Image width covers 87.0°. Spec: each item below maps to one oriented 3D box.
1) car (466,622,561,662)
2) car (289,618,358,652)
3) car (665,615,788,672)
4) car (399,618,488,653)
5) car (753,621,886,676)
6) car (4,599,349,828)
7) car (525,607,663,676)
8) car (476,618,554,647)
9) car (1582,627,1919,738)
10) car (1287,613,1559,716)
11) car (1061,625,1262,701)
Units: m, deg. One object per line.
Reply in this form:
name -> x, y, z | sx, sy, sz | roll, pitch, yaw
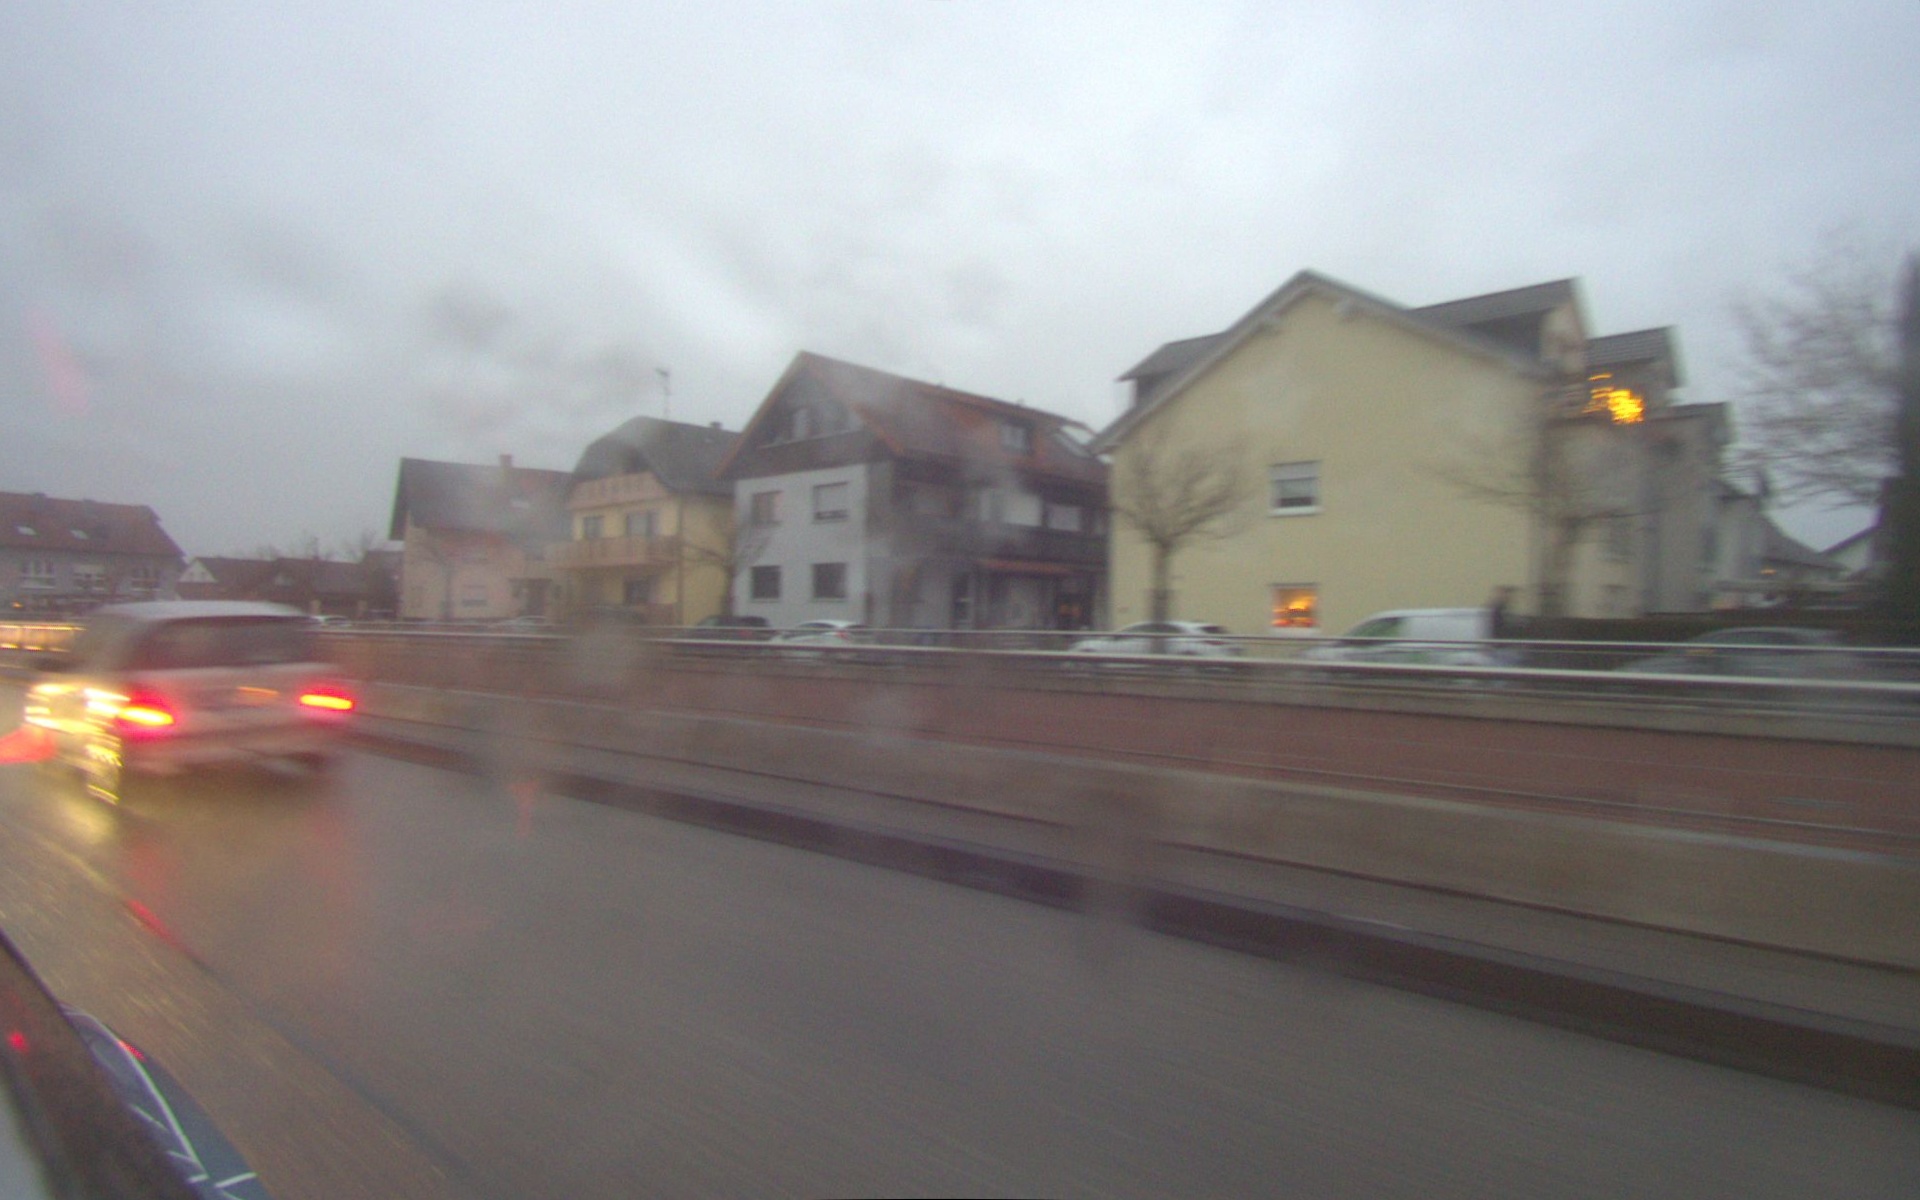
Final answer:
car -> -18.323, 1.682, 41.455 | 4.138, 1.517, 1.858 | -1, -1, 39
car -> -33.493, 1.820, 53.246 | 3.979, 1.636, 1.799 | -1, 1, 38
car -> -7.716, 1.369, 33.310 | 3.995, 1.694, 1.840 | -1, 1, 39
car -> -22.819, 1.538, 44.653 | 4.644, 1.453, 1.858 | -1, -1, 40
car -> -4.327, 1.439, 30.934 | 4.027, 1.535, 1.751 | 0, -2, 39
car -> -7.093, 0.855, 9.062 | 3.546, 1.648, 1.646 | -1, -1, 38
car -> -10.403, 1.121, 28.679 | 3.852, 1.817, 1.784 | 0, -1, 35
car -> -26.542, 1.897, 60.449 | 3.974, 1.535, 1.818 | -2, 1, -35
car -> 12.883, 1.267, 16.400 | 4.500, 1.585, 1.854 | -2, -4, 42
car -> 8.939, 1.225, 19.763 | 4.497, 1.792, 1.855 | -2, -4, 40
car -> 4.626, 1.436, 23.559 | 4.221, 1.611, 1.855 | -2, -4, 40
